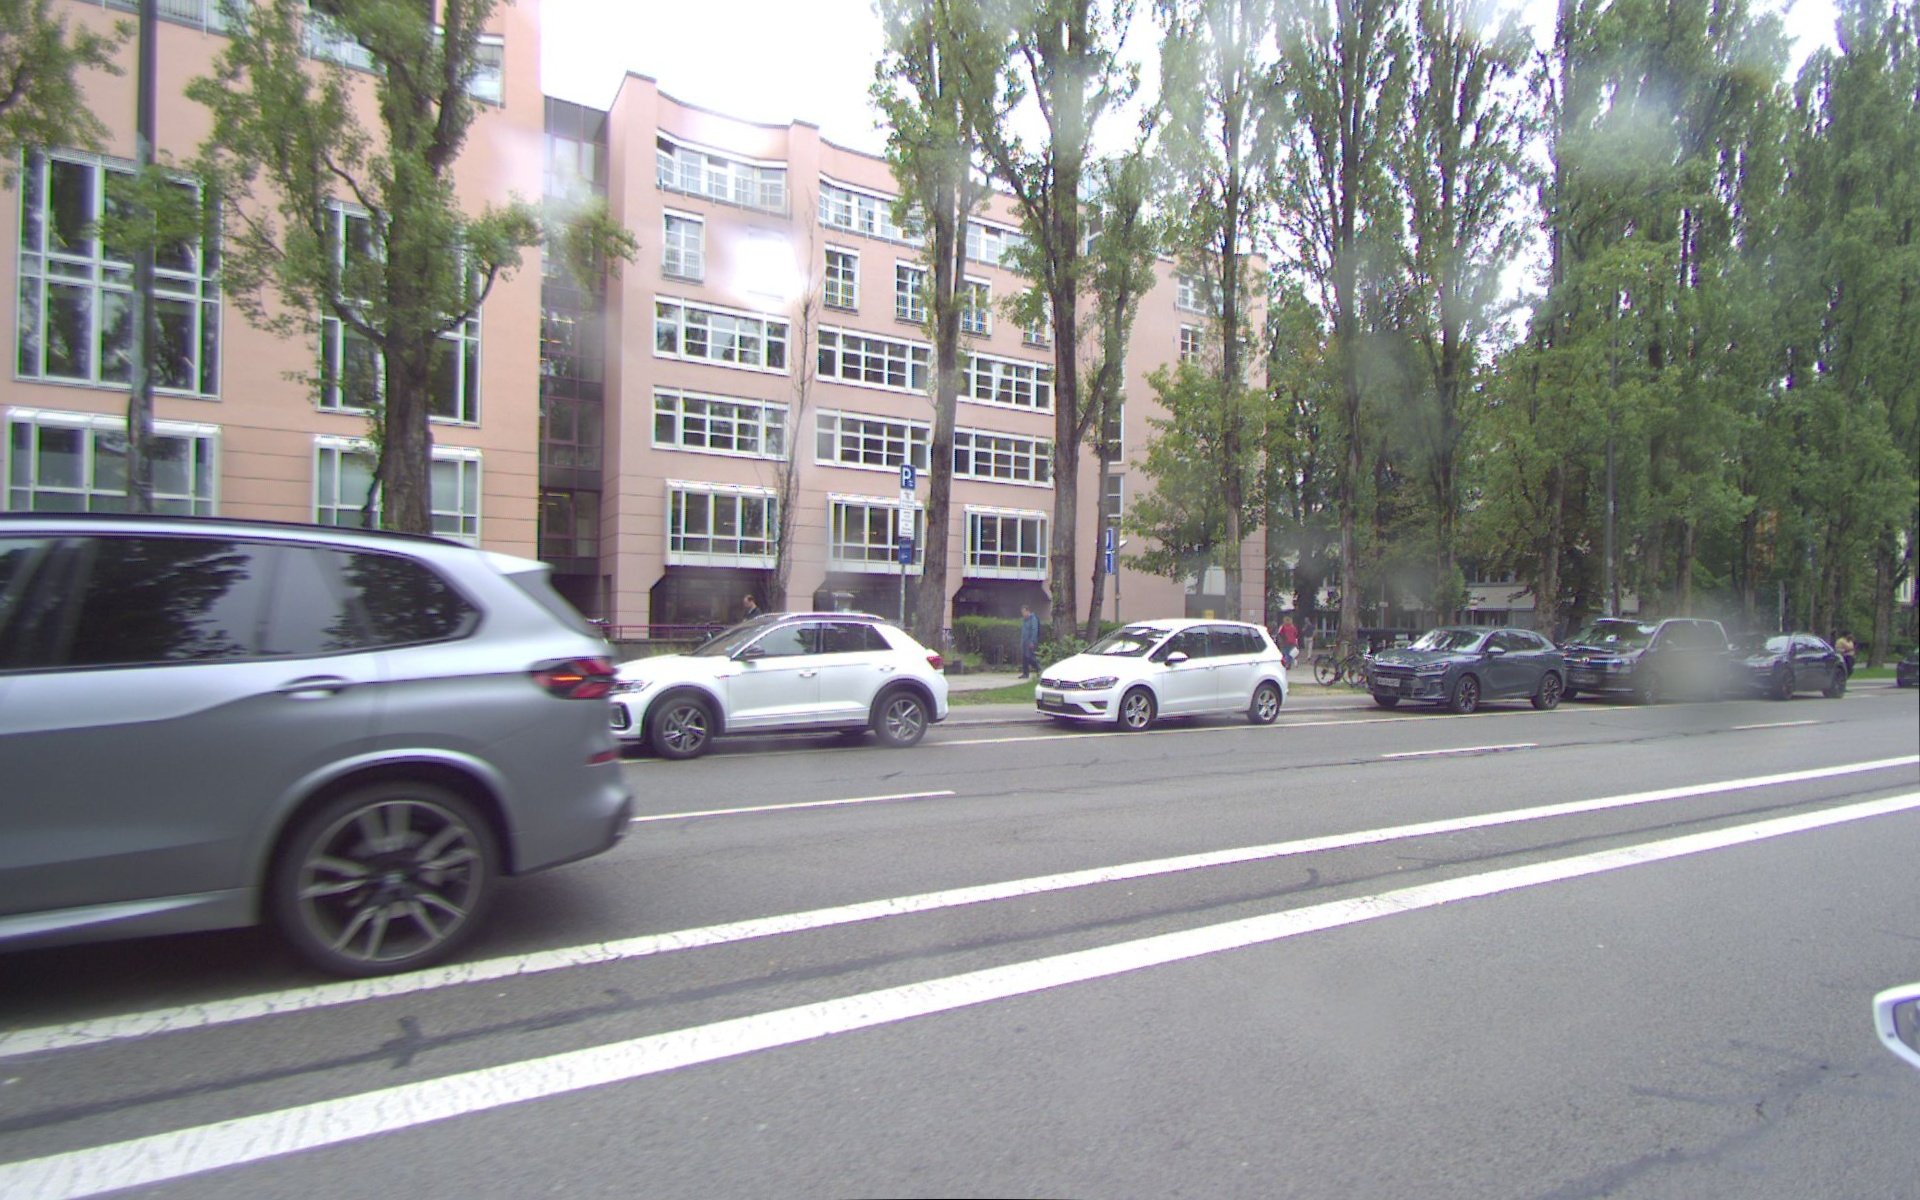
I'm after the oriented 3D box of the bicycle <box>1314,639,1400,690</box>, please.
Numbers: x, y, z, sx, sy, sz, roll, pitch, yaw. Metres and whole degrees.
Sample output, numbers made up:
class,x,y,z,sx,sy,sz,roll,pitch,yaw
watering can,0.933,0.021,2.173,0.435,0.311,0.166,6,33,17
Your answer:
class,x,y,z,sx,sy,sz,roll,pitch,yaw
bicycle,9.687,1.558,24.589,0.668,1.139,1.973,1,-1,-30

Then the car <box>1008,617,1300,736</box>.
class,x,y,z,sx,sy,sz,roll,pitch,yaw
car,3.033,1.070,15.371,4.281,1.562,1.981,1,-1,-35

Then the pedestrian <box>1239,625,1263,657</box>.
class,x,y,z,sx,sy,sz,roll,pitch,yaw
pedestrian,15.305,2.154,52.774,0.886,1.684,0.811,1,-1,-30

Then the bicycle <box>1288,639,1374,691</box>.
class,x,y,z,sx,sy,sz,roll,pitch,yaw
bicycle,8.862,1.522,24.059,0.668,1.139,1.973,1,-1,-30

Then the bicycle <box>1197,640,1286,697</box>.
class,x,y,z,sx,sy,sz,roll,pitch,yaw
bicycle,6.149,1.472,22.049,0.668,1.139,1.973,1,-1,-30

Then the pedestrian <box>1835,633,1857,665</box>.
class,x,y,z,sx,sy,sz,roll,pitch,yaw
pedestrian,42.142,2.317,47.765,0.669,1.513,0.589,1,-1,-30

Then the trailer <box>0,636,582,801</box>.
class,x,y,z,sx,sy,sz,roll,pitch,yaw
trailer,-6.906,0.980,9.462,5.968,1.215,2.385,1,-1,-30

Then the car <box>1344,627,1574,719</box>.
class,x,y,z,sx,sy,sz,roll,pitch,yaw
car,9.676,1.335,19.428,4.273,1.562,1.984,1,-1,-30

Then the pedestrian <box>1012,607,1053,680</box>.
class,x,y,z,sx,sy,sz,roll,pitch,yaw
pedestrian,1.761,1.058,24.542,0.723,1.736,0.704,1,-1,-30

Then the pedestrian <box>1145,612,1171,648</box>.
class,x,y,z,sx,sy,sz,roll,pitch,yaw
pedestrian,9.302,1.418,47.138,0.886,1.684,0.811,1,-1,-30

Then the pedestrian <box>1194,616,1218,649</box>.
class,x,y,z,sx,sy,sz,roll,pitch,yaw
pedestrian,12.660,1.677,51.708,0.886,1.684,0.811,1,-1,-30

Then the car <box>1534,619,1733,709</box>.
class,x,y,z,sx,sy,sz,roll,pitch,yaw
car,15.260,1.375,22.697,4.708,1.821,1.983,1,-1,-32

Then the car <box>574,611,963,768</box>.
class,x,y,z,sx,sy,sz,roll,pitch,yaw
car,-2.208,0.953,11.835,4.182,1.562,1.793,1,-2,-29

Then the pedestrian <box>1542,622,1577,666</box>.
class,x,y,z,sx,sy,sz,roll,pitch,yaw
pedestrian,23.177,1.689,38.835,0.886,1.684,0.811,1,-1,-30

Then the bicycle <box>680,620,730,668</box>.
class,x,y,z,sx,sy,sz,roll,pitch,yaw
bicycle,-6.455,1.076,25.359,0.668,1.139,2.090,1,-1,-30

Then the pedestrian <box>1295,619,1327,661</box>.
class,x,y,z,sx,sy,sz,roll,pitch,yaw
pedestrian,14.043,1.596,40.200,0.886,1.684,0.811,1,-1,-30

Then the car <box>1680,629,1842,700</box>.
class,x,y,z,sx,sy,sz,roll,pitch,yaw
car,20.236,1.571,25.351,4.307,1.628,1.982,2,-1,-33

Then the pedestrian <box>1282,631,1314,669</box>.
class,x,y,z,sx,sy,sz,roll,pitch,yaw
pedestrian,11.174,1.636,33.227,0.723,1.220,0.704,1,-1,-30

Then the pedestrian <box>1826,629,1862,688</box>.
class,x,y,z,sx,sy,sz,roll,pitch,yaw
pedestrian,25.830,1.696,29.349,0.595,1.678,0.663,1,-1,-36

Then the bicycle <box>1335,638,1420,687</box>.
class,x,y,z,sx,sy,sz,roll,pitch,yaw
bicycle,10.371,1.530,25.017,0.668,1.139,1.973,1,-1,-30

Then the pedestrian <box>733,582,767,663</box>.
class,x,y,z,sx,sy,sz,roll,pitch,yaw
pedestrian,-4.299,0.463,20.585,0.647,1.626,0.558,1,-1,-10

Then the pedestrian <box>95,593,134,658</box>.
class,x,y,z,sx,sy,sz,roll,pitch,yaw
pedestrian,-22.976,0.693,27.303,0.640,1.714,0.671,1,-1,-28

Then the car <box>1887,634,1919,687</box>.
class,x,y,z,sx,sy,sz,roll,pitch,yaw
car,31.741,1.951,32.463,3.574,1.600,1.930,0,0,-36

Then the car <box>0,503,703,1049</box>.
class,x,y,z,sx,sy,sz,roll,pitch,yaw
car,-3.638,0.582,4.012,4.705,1.739,1.984,2,-2,-31

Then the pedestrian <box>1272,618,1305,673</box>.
class,x,y,z,sx,sy,sz,roll,pitch,yaw
pedestrian,10.502,1.444,32.109,0.723,1.736,0.704,1,-1,-30
